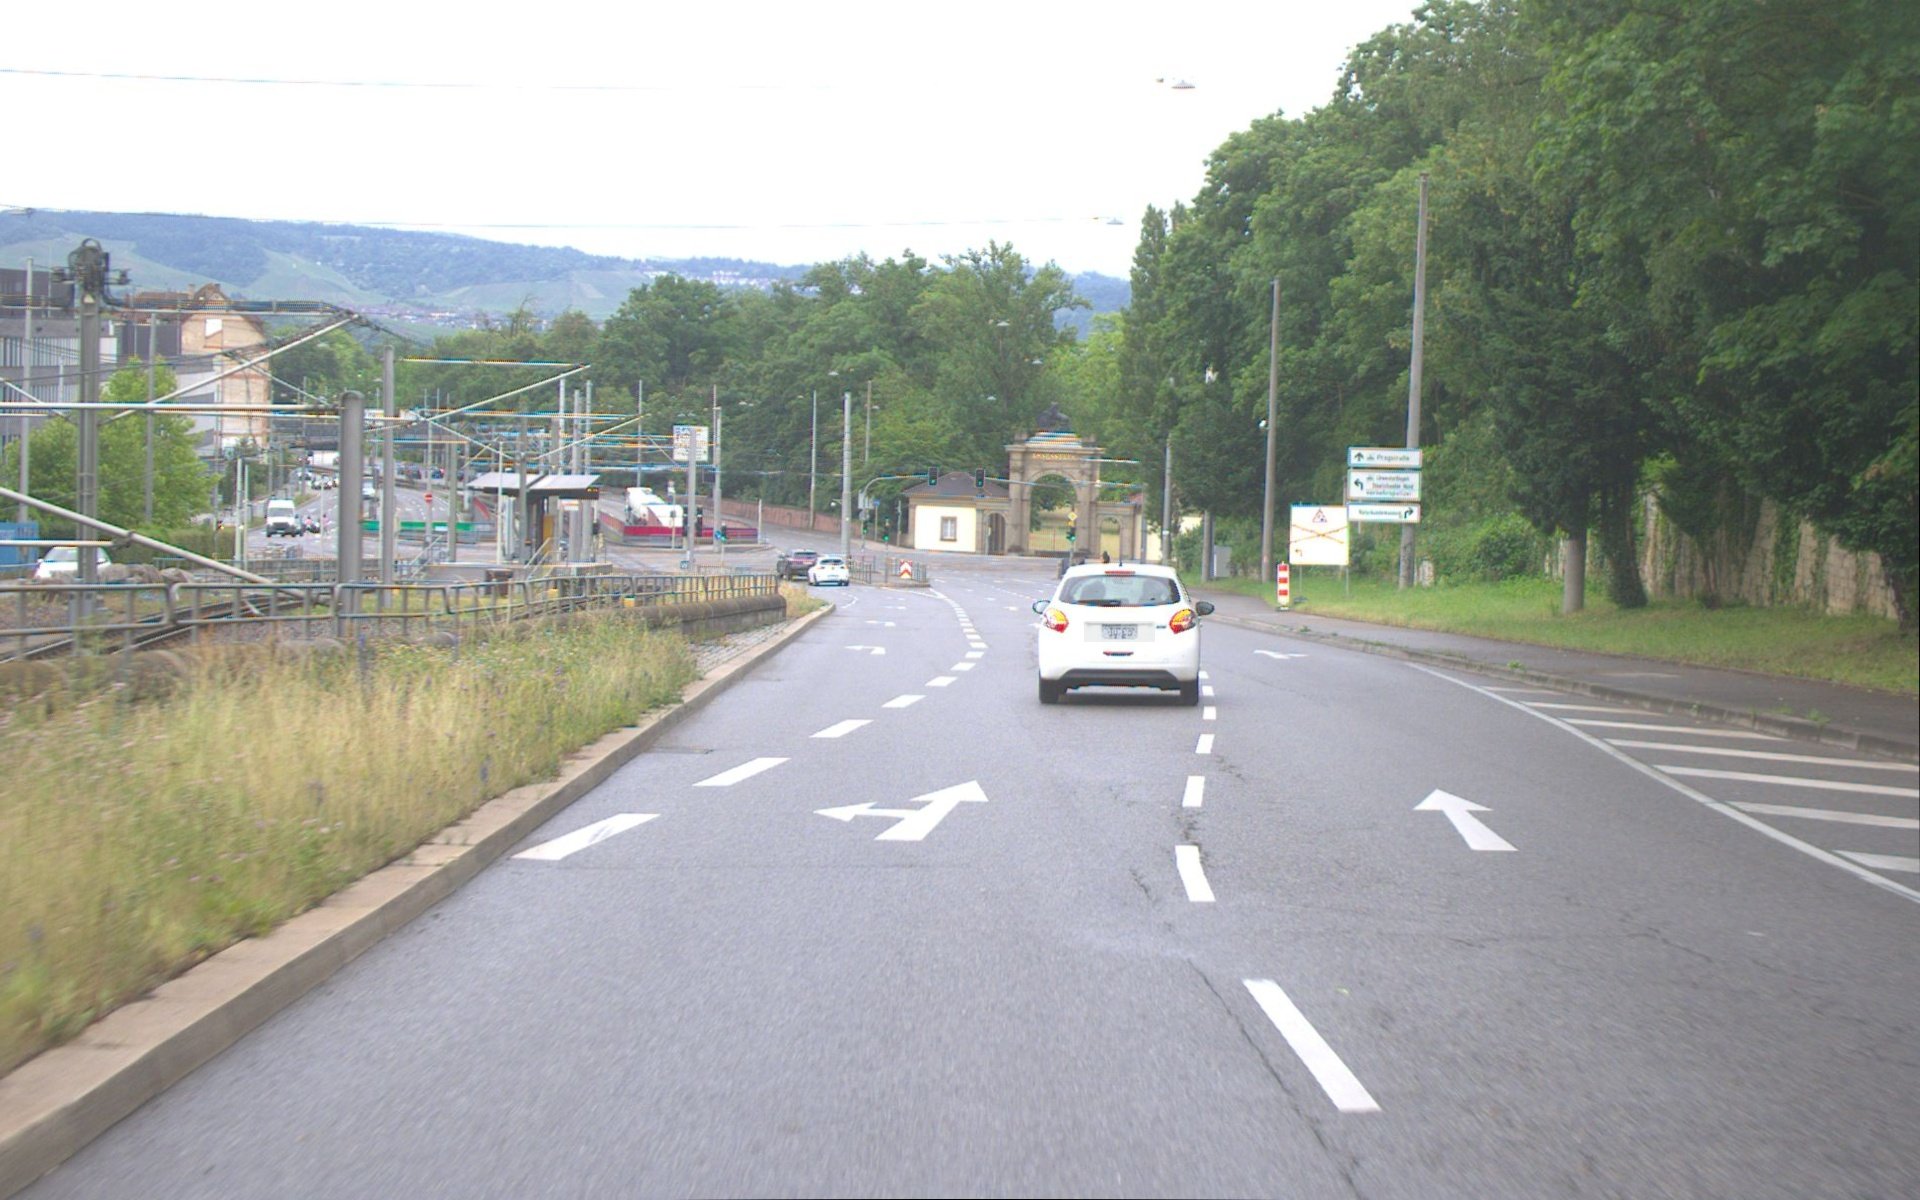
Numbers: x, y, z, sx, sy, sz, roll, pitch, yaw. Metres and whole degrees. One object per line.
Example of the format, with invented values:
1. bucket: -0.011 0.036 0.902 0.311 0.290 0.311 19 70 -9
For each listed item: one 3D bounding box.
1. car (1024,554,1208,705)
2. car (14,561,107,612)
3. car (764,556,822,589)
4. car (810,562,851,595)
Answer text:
1. car: 1.714 0.278 37.008 1.869 1.505 3.899 0 1 4
2. car: -24.507 -0.381 93.753 1.555 1.287 3.559 2 1 0
3. car: -8.829 -1.452 181.224 1.993 1.700 4.001 1 1 -19
4. car: -6.455 -1.084 171.735 1.822 1.600 4.000 -1 1 1
